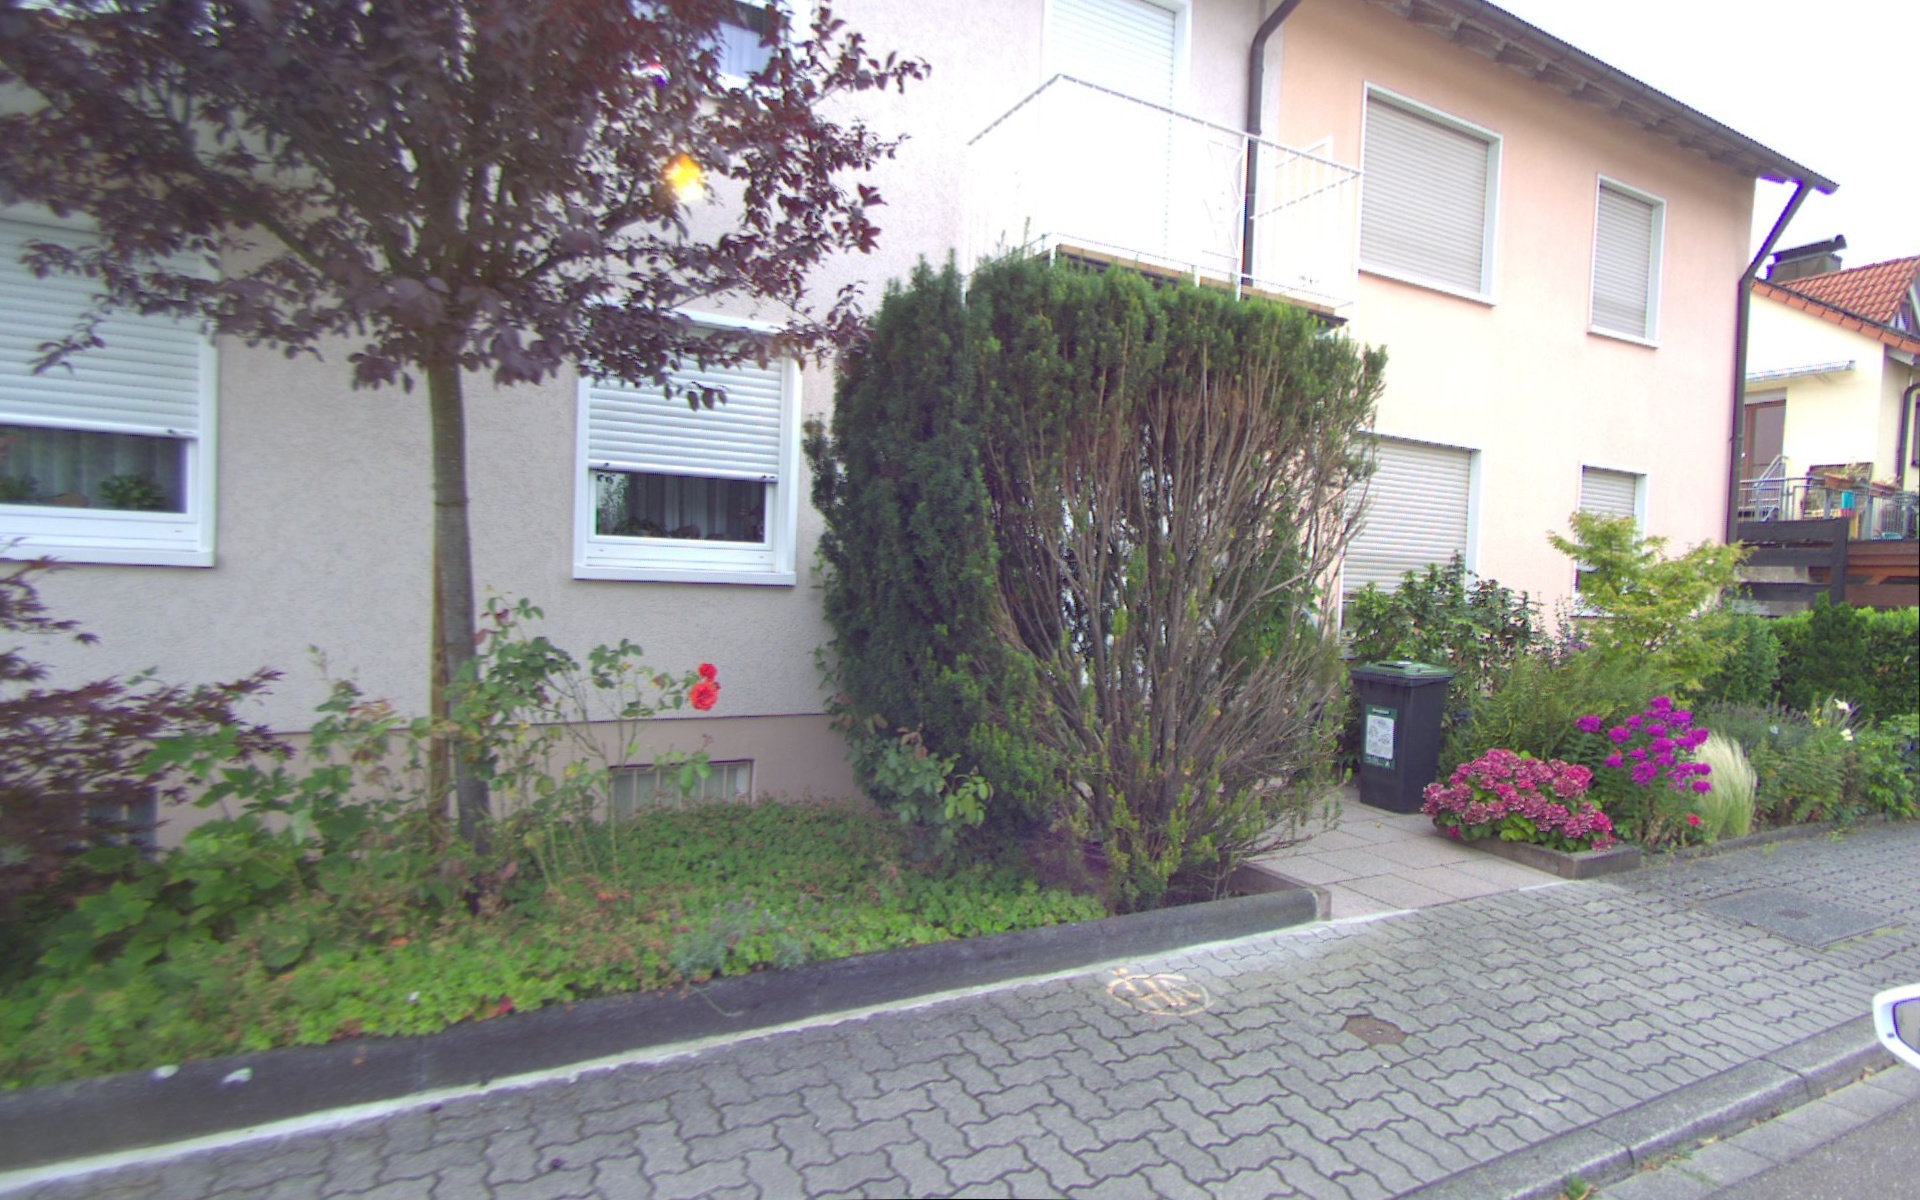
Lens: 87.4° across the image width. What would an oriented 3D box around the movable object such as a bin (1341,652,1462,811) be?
[{"bbox_3d":[2.852,0.824,6.497,0.500,0.943,0.487,1,1,-29],"label":"movable object such as a bin"}]
